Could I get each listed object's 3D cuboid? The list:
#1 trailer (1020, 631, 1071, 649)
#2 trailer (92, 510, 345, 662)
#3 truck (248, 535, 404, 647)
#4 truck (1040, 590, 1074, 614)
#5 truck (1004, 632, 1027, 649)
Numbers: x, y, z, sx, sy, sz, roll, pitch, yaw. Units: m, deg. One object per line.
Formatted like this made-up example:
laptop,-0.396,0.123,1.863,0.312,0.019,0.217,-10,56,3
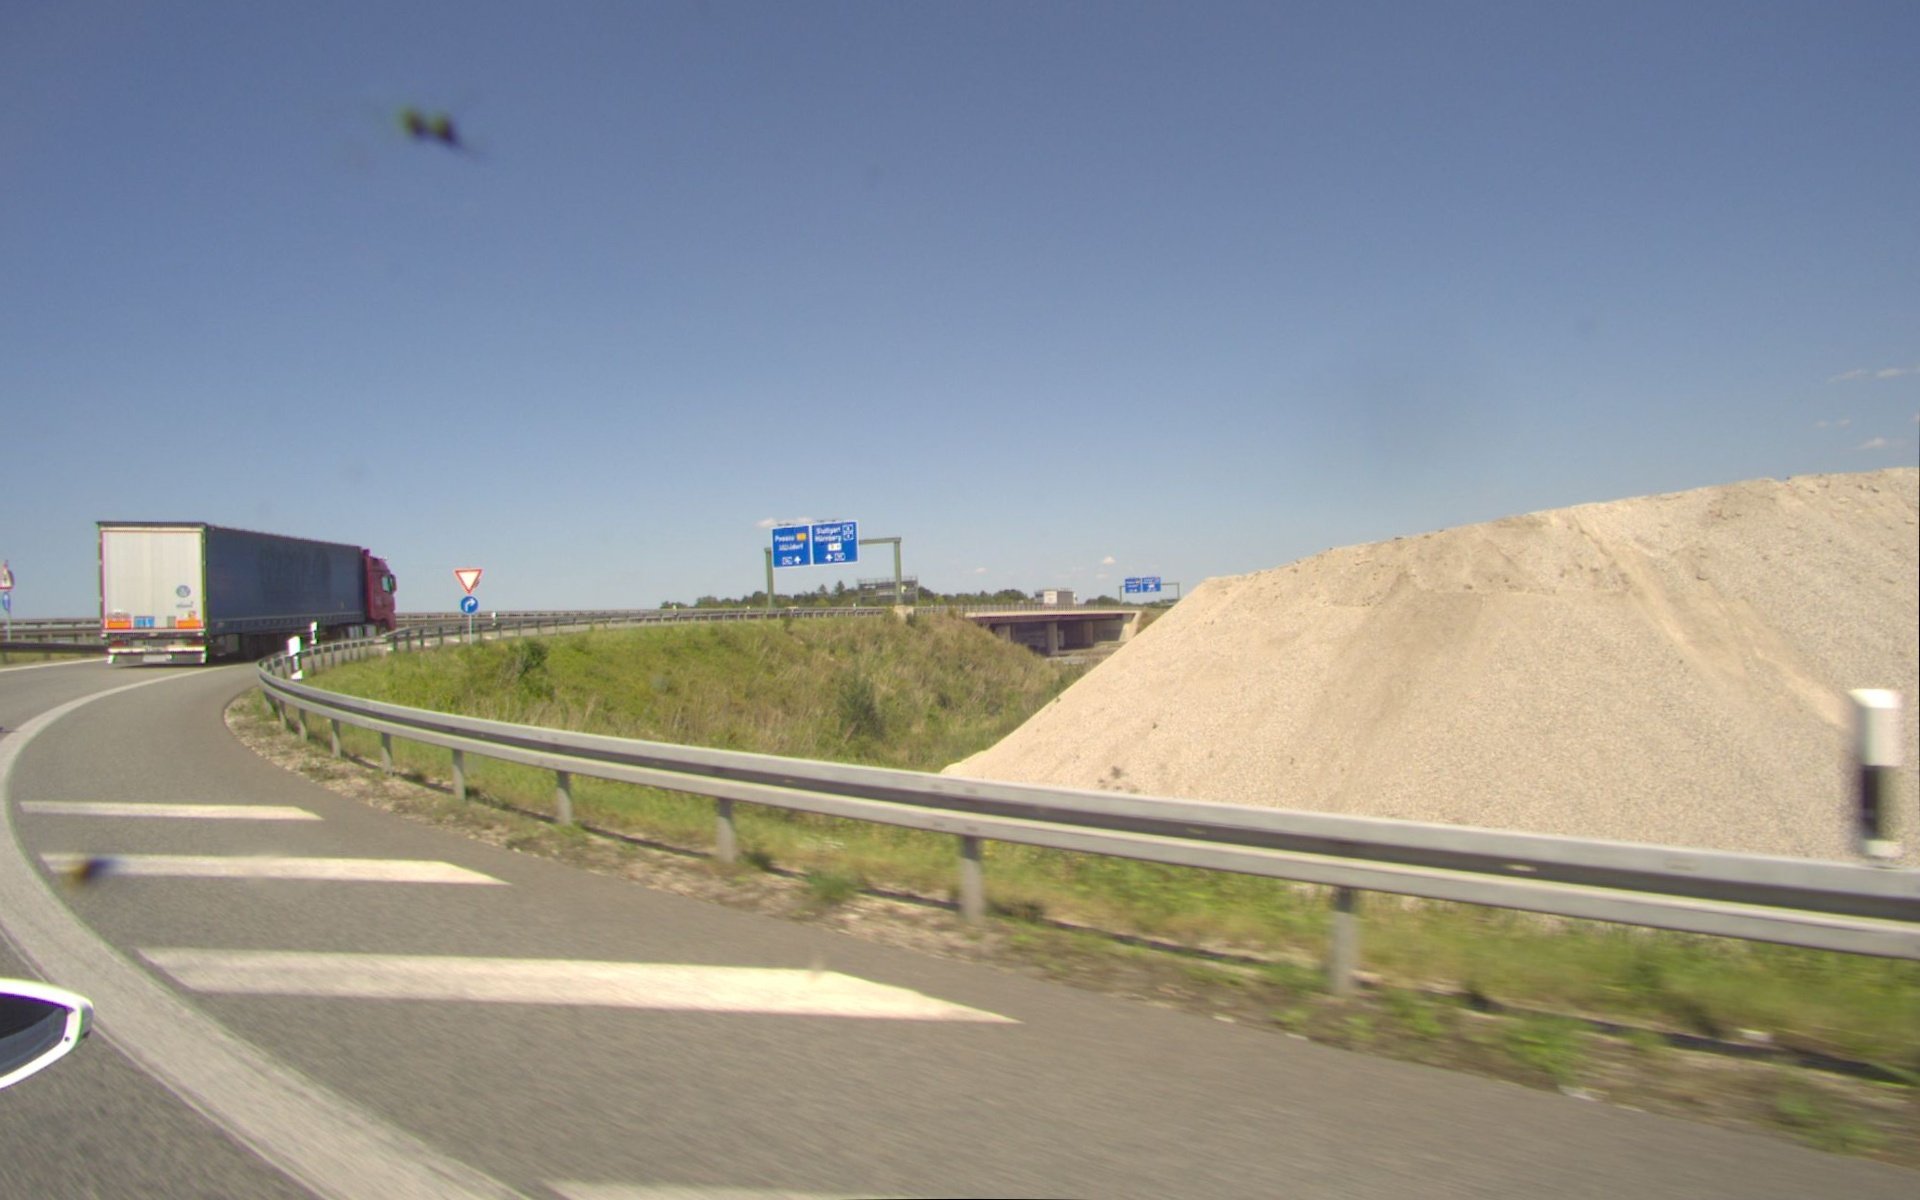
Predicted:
trailer,15.412,7.285,180.535,8.988,3.168,2.643,0,-1,9
trailer,-23.978,-0.217,33.377,2.869,4.198,11.244,0,-2,-15
truck,-25.665,-0.233,40.982,2.867,4.198,6.924,0,-1,-9
truck,18.219,0.423,187.301,3.488,4.199,11.236,1,-1,20
truck,10.140,7.323,181.383,3.923,3.139,2.629,0,-1,9
